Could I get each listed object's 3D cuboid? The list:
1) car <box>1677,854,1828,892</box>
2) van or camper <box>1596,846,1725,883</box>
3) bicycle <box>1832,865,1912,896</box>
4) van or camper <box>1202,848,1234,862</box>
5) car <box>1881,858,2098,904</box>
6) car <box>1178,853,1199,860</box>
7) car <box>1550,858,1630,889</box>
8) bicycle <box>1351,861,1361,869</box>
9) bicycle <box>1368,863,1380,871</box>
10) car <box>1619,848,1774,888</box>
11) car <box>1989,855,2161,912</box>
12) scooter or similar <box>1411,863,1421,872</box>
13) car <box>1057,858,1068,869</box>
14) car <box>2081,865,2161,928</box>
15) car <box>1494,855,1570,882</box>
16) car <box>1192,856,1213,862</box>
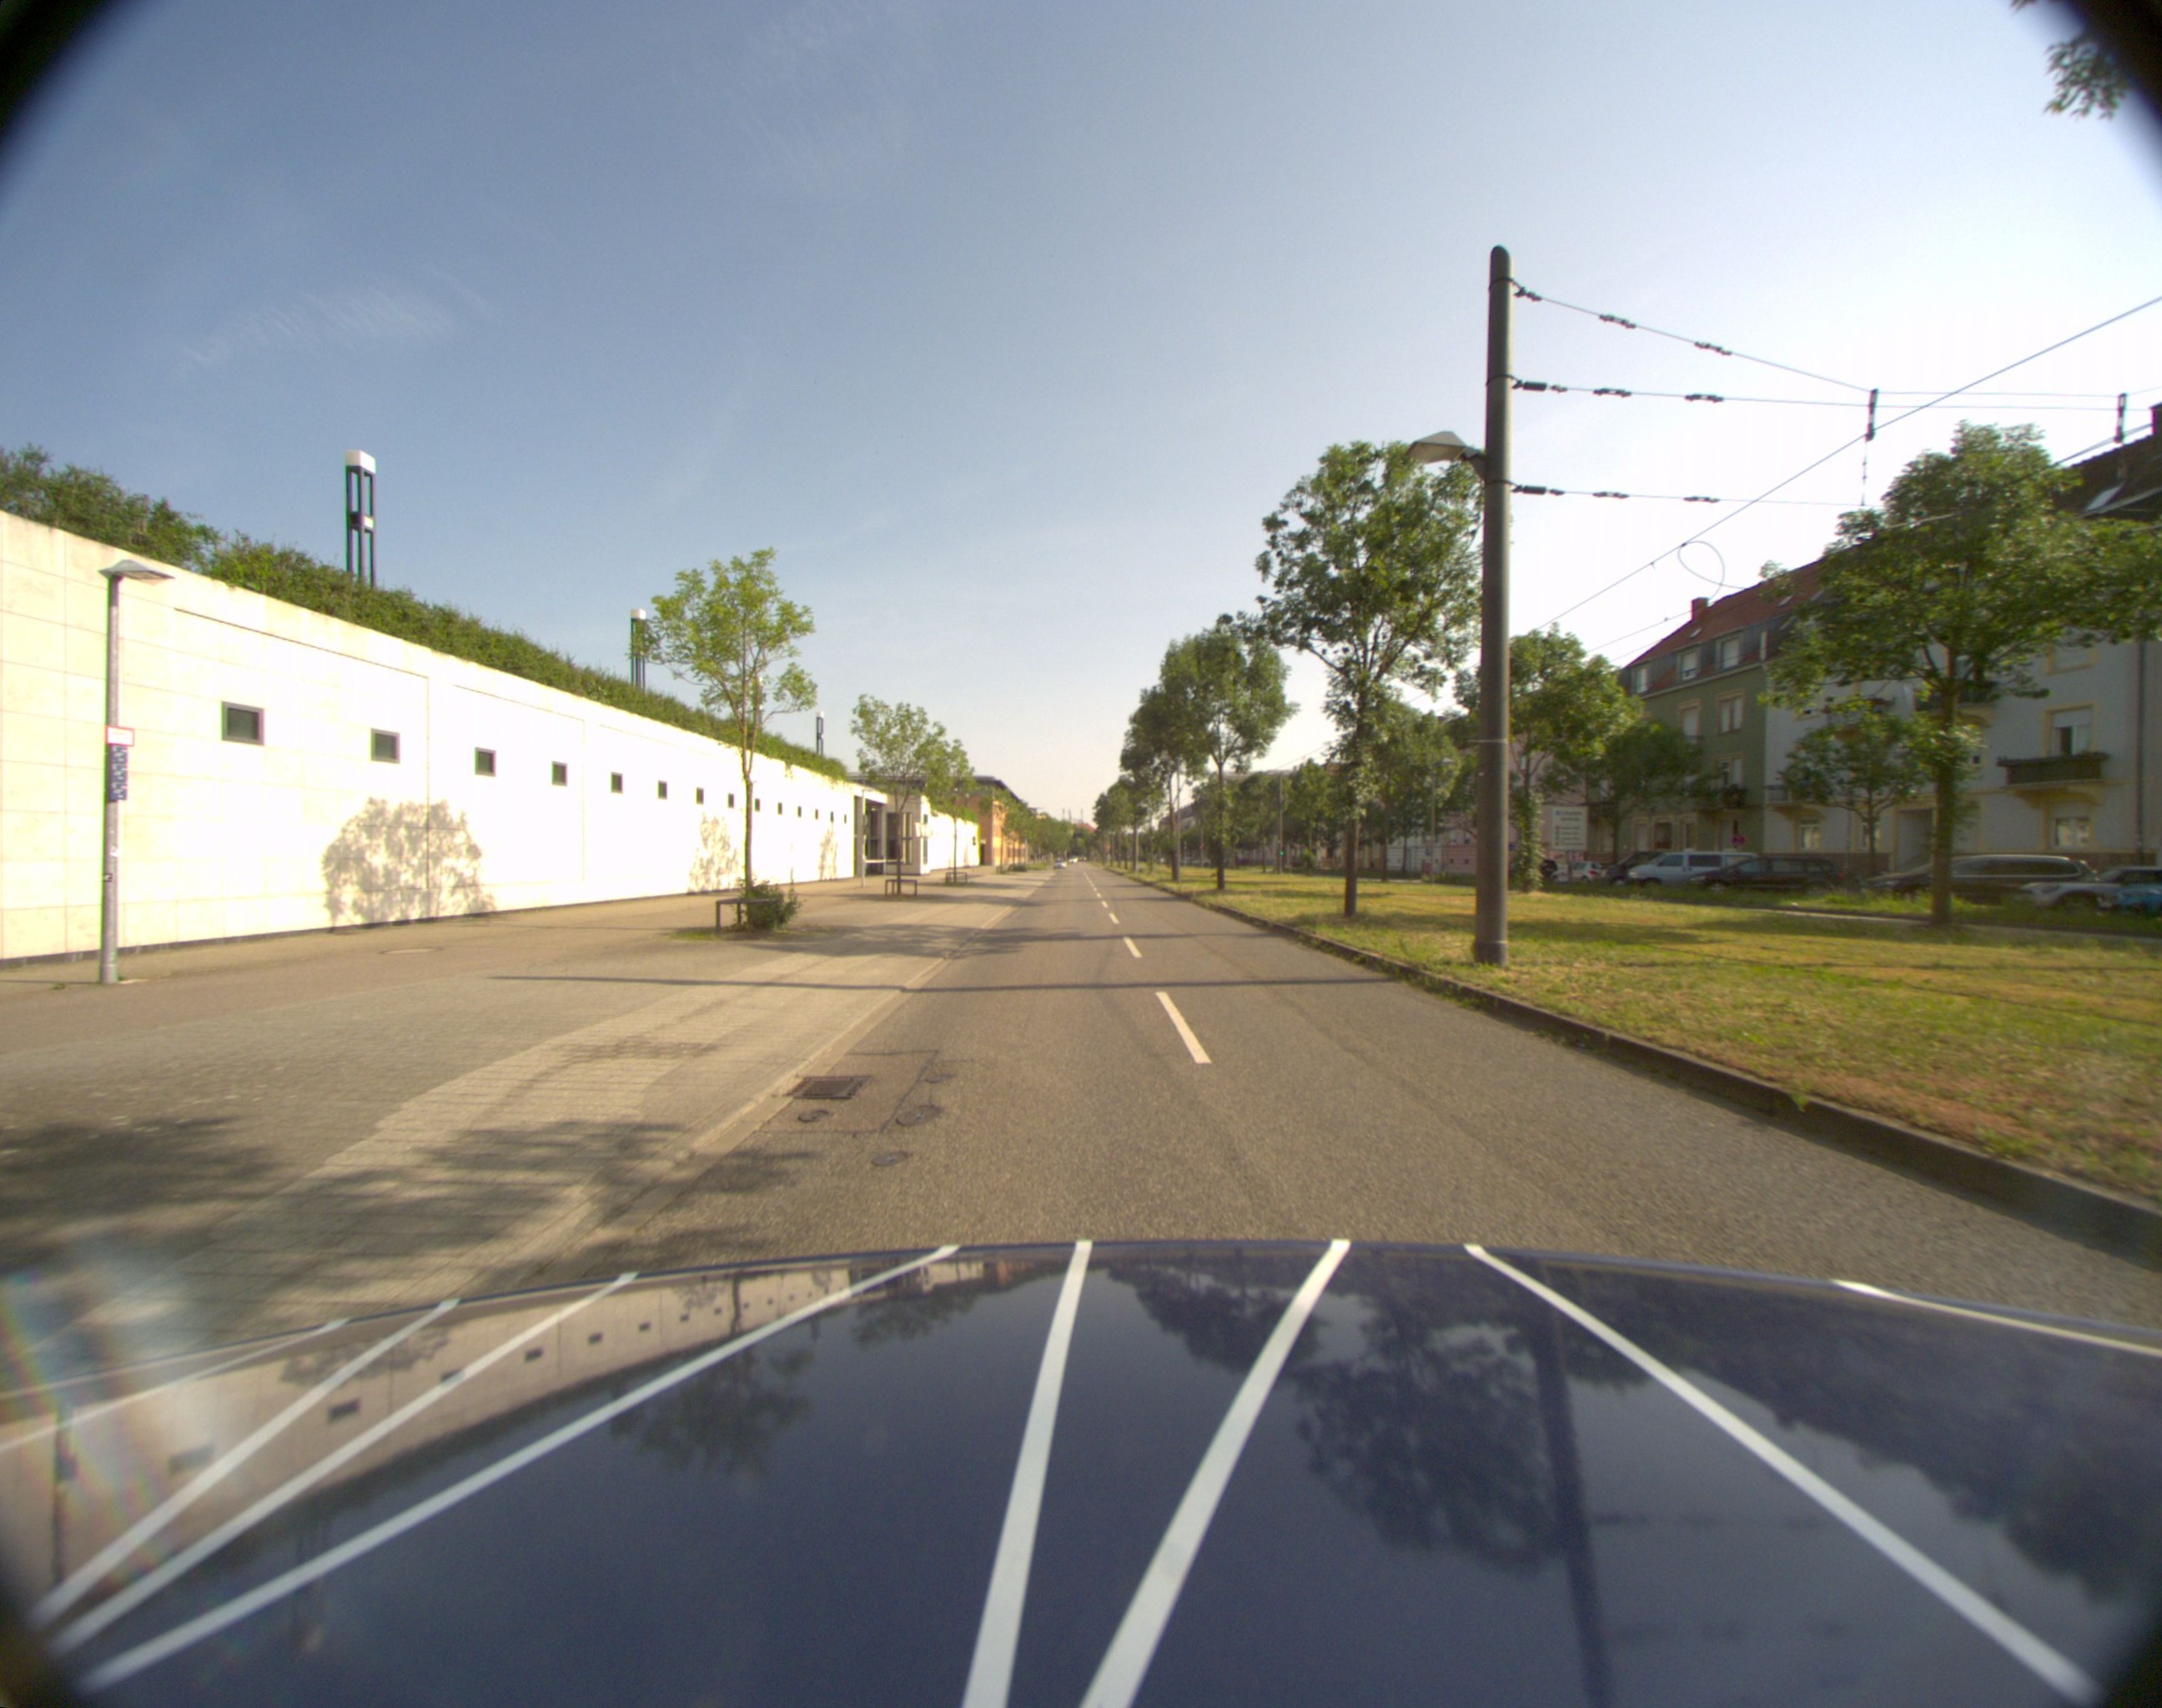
[{"bbox_3d":[27.160,0.765,30.968,4.464,1.411,1.979,-2,1,37],"label":"car"},{"bbox_3d":[28.005,0.529,36.959,4.837,1.614,2.006,-2,1,33],"label":"van or camper"},{"bbox_3d":[28.199,0.928,27.139,0.467,1.043,2.000,-2,1,-14],"label":"bicycle"},{"bbox_3d":[27.563,0.202,153.108,5.910,2.559,2.203,-2,1,34],"label":"van or camper"},{"bbox_3d":[27.774,0.815,23.444,3.989,1.261,1.642,-2,1,33],"label":"car"},{"bbox_3d":[27.319,0.713,192.989,4.938,1.716,1.860,-2,1,34],"label":"car"},{"bbox_3d":[29.333,1.073,43.969,1.894,1.619,4.156,-2,0,1],"label":"car"},{"bbox_3d":[32.349,1.284,89.333,0.438,0.784,1.947,-2,1,-2],"label":"bicycle"},{"bbox_3d":[32.001,1.422,82.991,0.448,0.852,1.947,-2,1,-2],"label":"bicycle"},{"bbox_3d":[27.335,0.637,34.019,5.208,1.614,2.060,-2,1,33],"label":"car"},{"bbox_3d":[27.643,0.767,20.353,3.989,1.409,1.580,-2,1,34],"label":"car"},{"bbox_3d":[32.056,1.271,72.642,0.605,0.808,1.222,-2,1,10],"label":"scooter or similar"},{"bbox_3d":[-2.710,1.387,112.425,1.629,1.476,3.365,-2,1,-2],"label":"car"},{"bbox_3d":[27.069,0.983,17.877,3.989,1.409,1.580,-2,1,33],"label":"car"},{"bbox_3d":[29.433,0.922,49.813,1.999,1.619,4.774,-2,0,-2],"label":"car"},{"bbox_3d":[26.673,1.106,166.709,4.004,1.309,1.665,-2,1,34],"label":"car"}]
